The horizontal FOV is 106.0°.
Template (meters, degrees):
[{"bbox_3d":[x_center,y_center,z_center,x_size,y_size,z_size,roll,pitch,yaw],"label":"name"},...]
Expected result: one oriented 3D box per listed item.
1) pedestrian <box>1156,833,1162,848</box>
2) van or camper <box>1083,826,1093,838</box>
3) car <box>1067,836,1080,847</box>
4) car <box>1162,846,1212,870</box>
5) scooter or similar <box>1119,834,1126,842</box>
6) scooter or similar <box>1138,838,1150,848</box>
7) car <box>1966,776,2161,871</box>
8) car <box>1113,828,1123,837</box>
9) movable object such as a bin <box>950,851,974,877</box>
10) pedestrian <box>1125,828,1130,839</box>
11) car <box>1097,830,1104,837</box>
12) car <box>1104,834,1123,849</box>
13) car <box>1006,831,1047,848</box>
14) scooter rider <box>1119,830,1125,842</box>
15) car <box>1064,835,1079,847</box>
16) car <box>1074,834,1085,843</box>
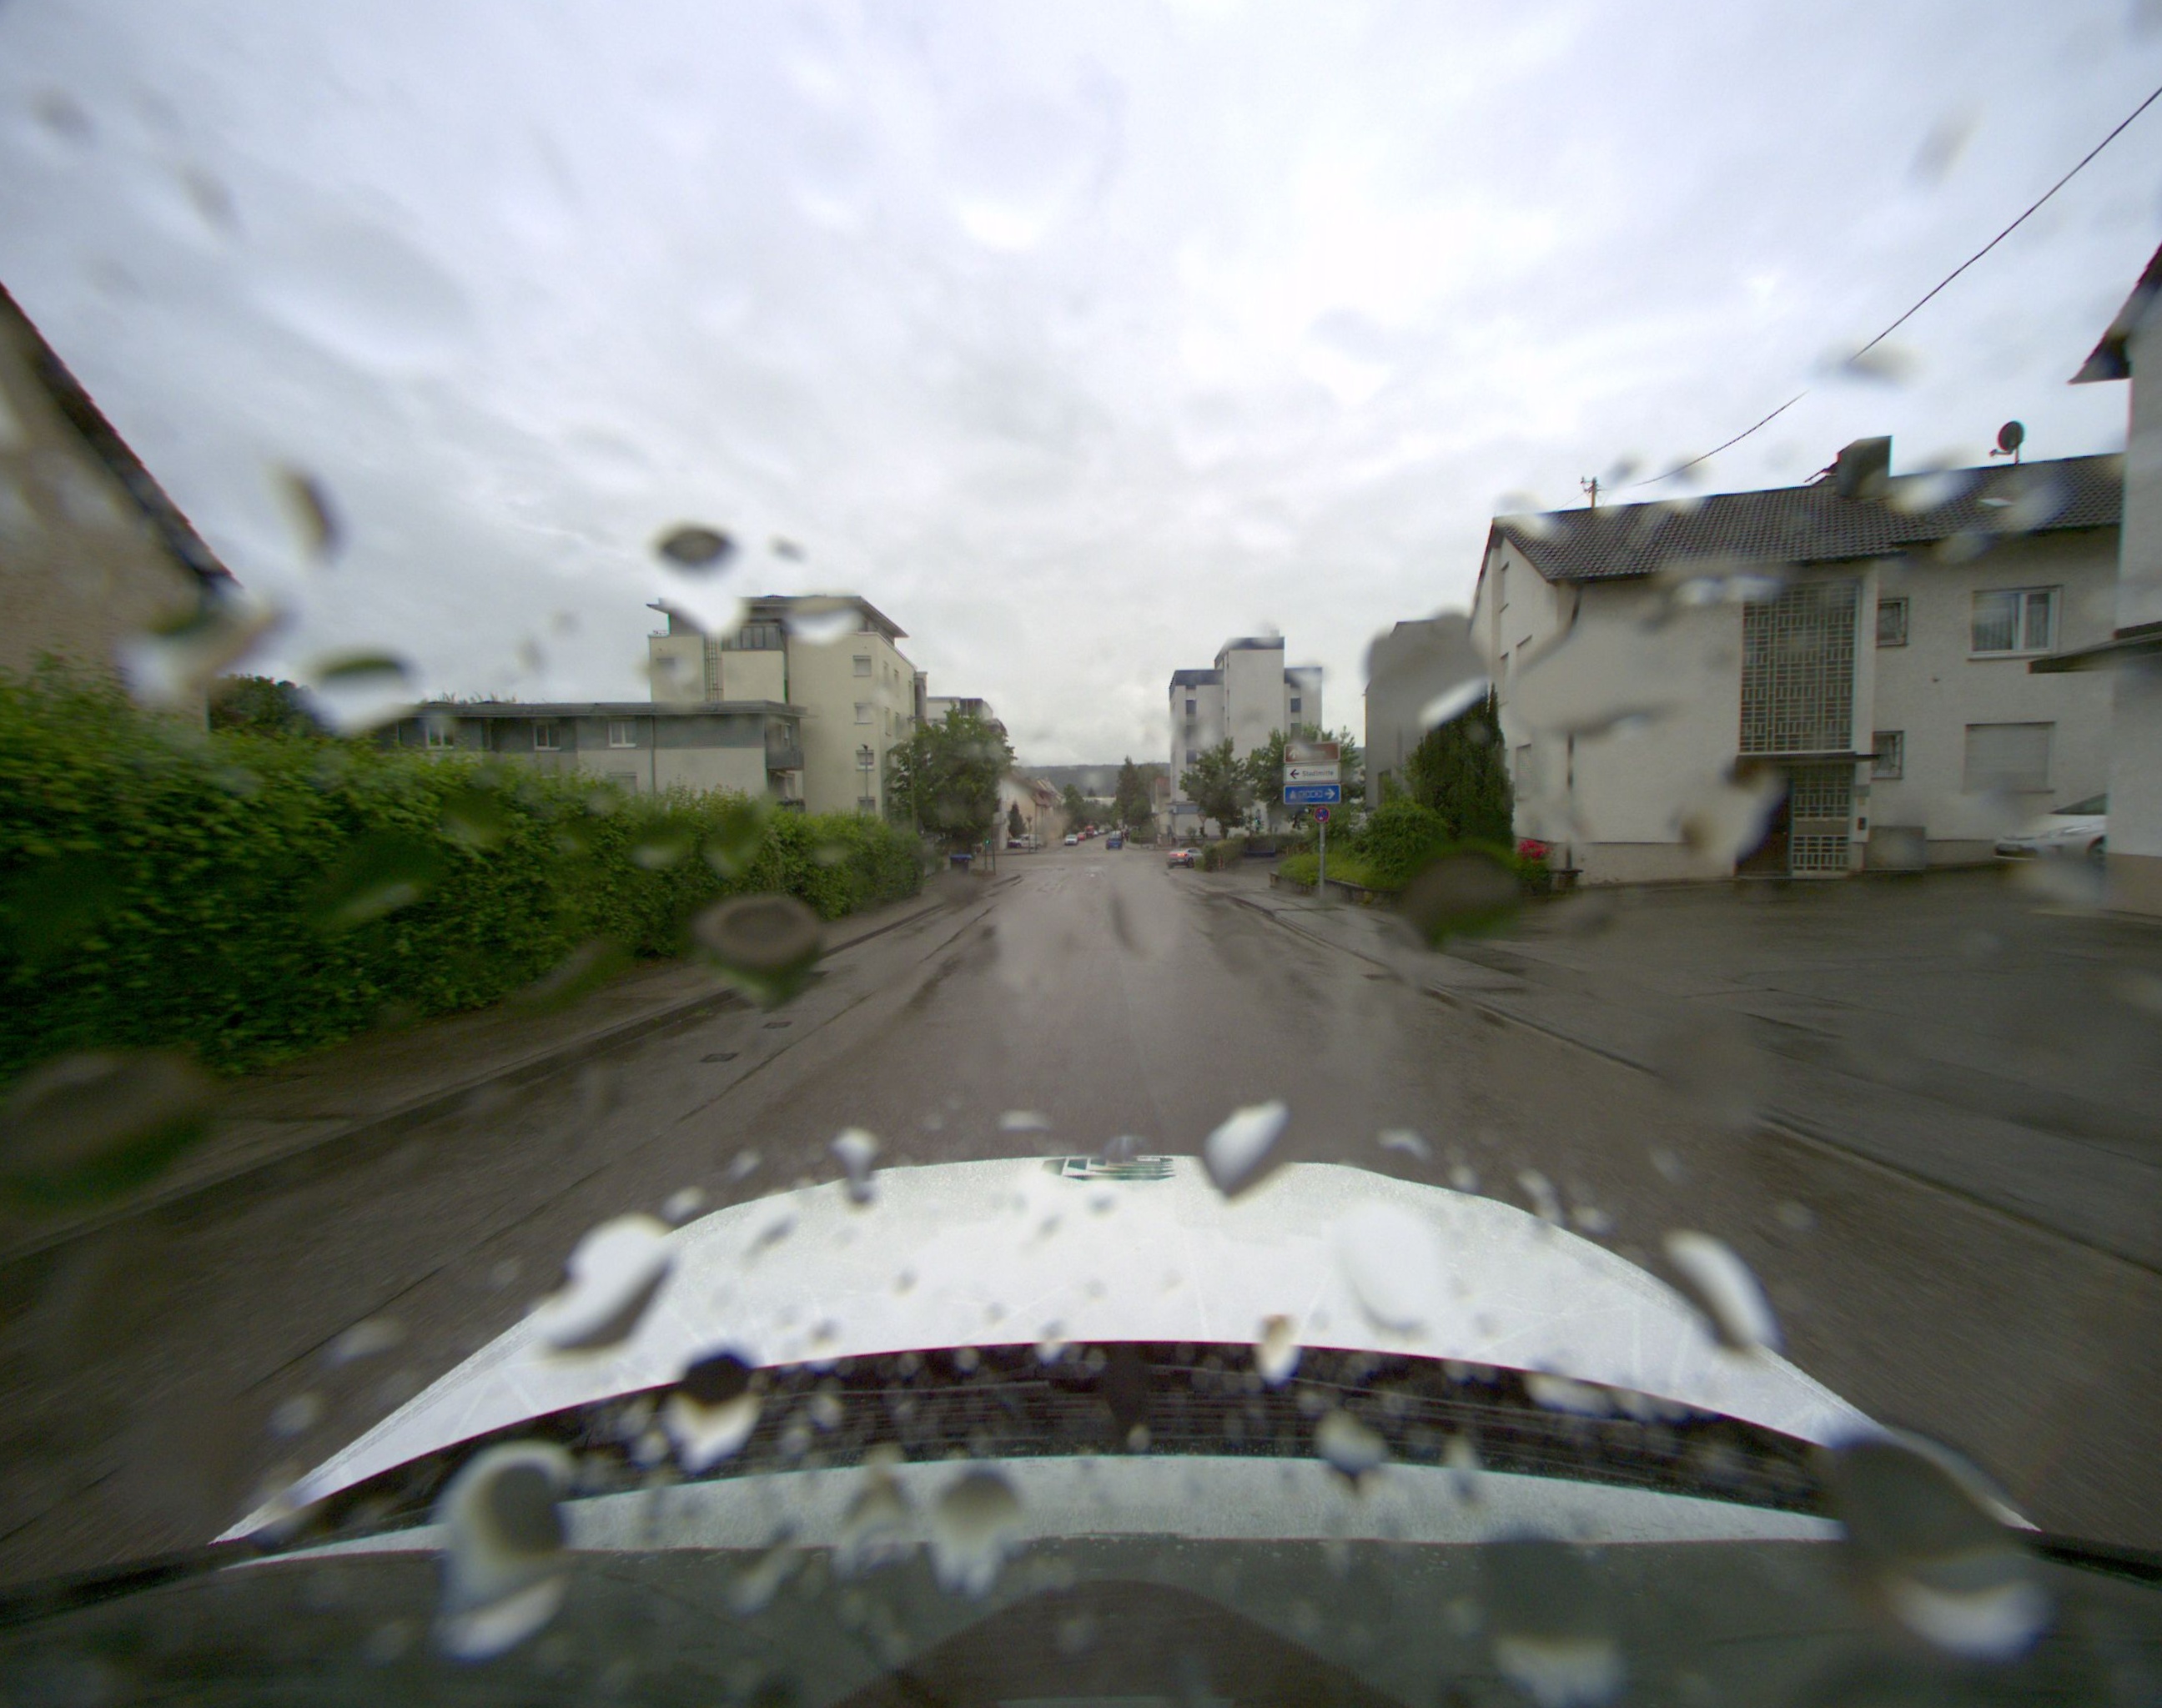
[{"bbox_3d":[9.070,-1.550,94.640,0.646,1.647,0.525,1,1,-5],"label":"pedestrian"},{"bbox_3d":[1.532,-4.950,181.204,1.894,2.513,4.241,-2,1,2],"label":"van or camper"},{"bbox_3d":[-1.236,-2.100,134.287,1.986,1.625,4.194,-2,1,2],"label":"car"},{"bbox_3d":[8.308,0.318,63.546,1.974,1.683,4.026,-1,2,40],"label":"car"},{"bbox_3d":[6.301,-2.359,123.651,0.757,1.171,1.309,-2,1,-11],"label":"scooter or similar"},{"bbox_3d":[7.254,-1.250,93.419,1.265,1.081,0.875,-2,1,-3],"label":"scooter or similar"},{"bbox_3d":[20.189,-0.634,15.450,4.249,1.597,1.812,-3,3,18],"label":"car"},{"bbox_3d":[7.193,-4.167,158.458,1.894,1.745,4.194,-2,1,2],"label":"car"},{"bbox_3d":[-6.204,0.520,42.619,1.068,1.347,1.318,1,0,-1],"label":"movable object such as a bin"},{"bbox_3d":[7.927,-3.500,139.678,0.742,1.848,0.526,-2,0,4],"label":"pedestrian"},{"bbox_3d":[5.021,-5.241,209.508,1.894,1.558,4.194,-2,1,2],"label":"car"},{"bbox_3d":[3.791,-1.513,96.076,1.987,1.683,3.999,-2,2,-1],"label":"car"},{"bbox_3d":[-6.863,-1.842,102.684,4.867,1.835,1.978,-3,2,-37],"label":"car"},{"bbox_3d":[6.272,-2.770,123.695,0.753,1.795,0.670,-2,1,-14],"label":"scooter rider"},{"bbox_3d":[-1.462,-1.948,122.882,1.986,1.625,4.194,-2,1,2],"label":"car"},{"bbox_3d":[-0.231,-3.067,159.334,1.894,1.558,4.194,-2,1,2],"label":"car"}]
